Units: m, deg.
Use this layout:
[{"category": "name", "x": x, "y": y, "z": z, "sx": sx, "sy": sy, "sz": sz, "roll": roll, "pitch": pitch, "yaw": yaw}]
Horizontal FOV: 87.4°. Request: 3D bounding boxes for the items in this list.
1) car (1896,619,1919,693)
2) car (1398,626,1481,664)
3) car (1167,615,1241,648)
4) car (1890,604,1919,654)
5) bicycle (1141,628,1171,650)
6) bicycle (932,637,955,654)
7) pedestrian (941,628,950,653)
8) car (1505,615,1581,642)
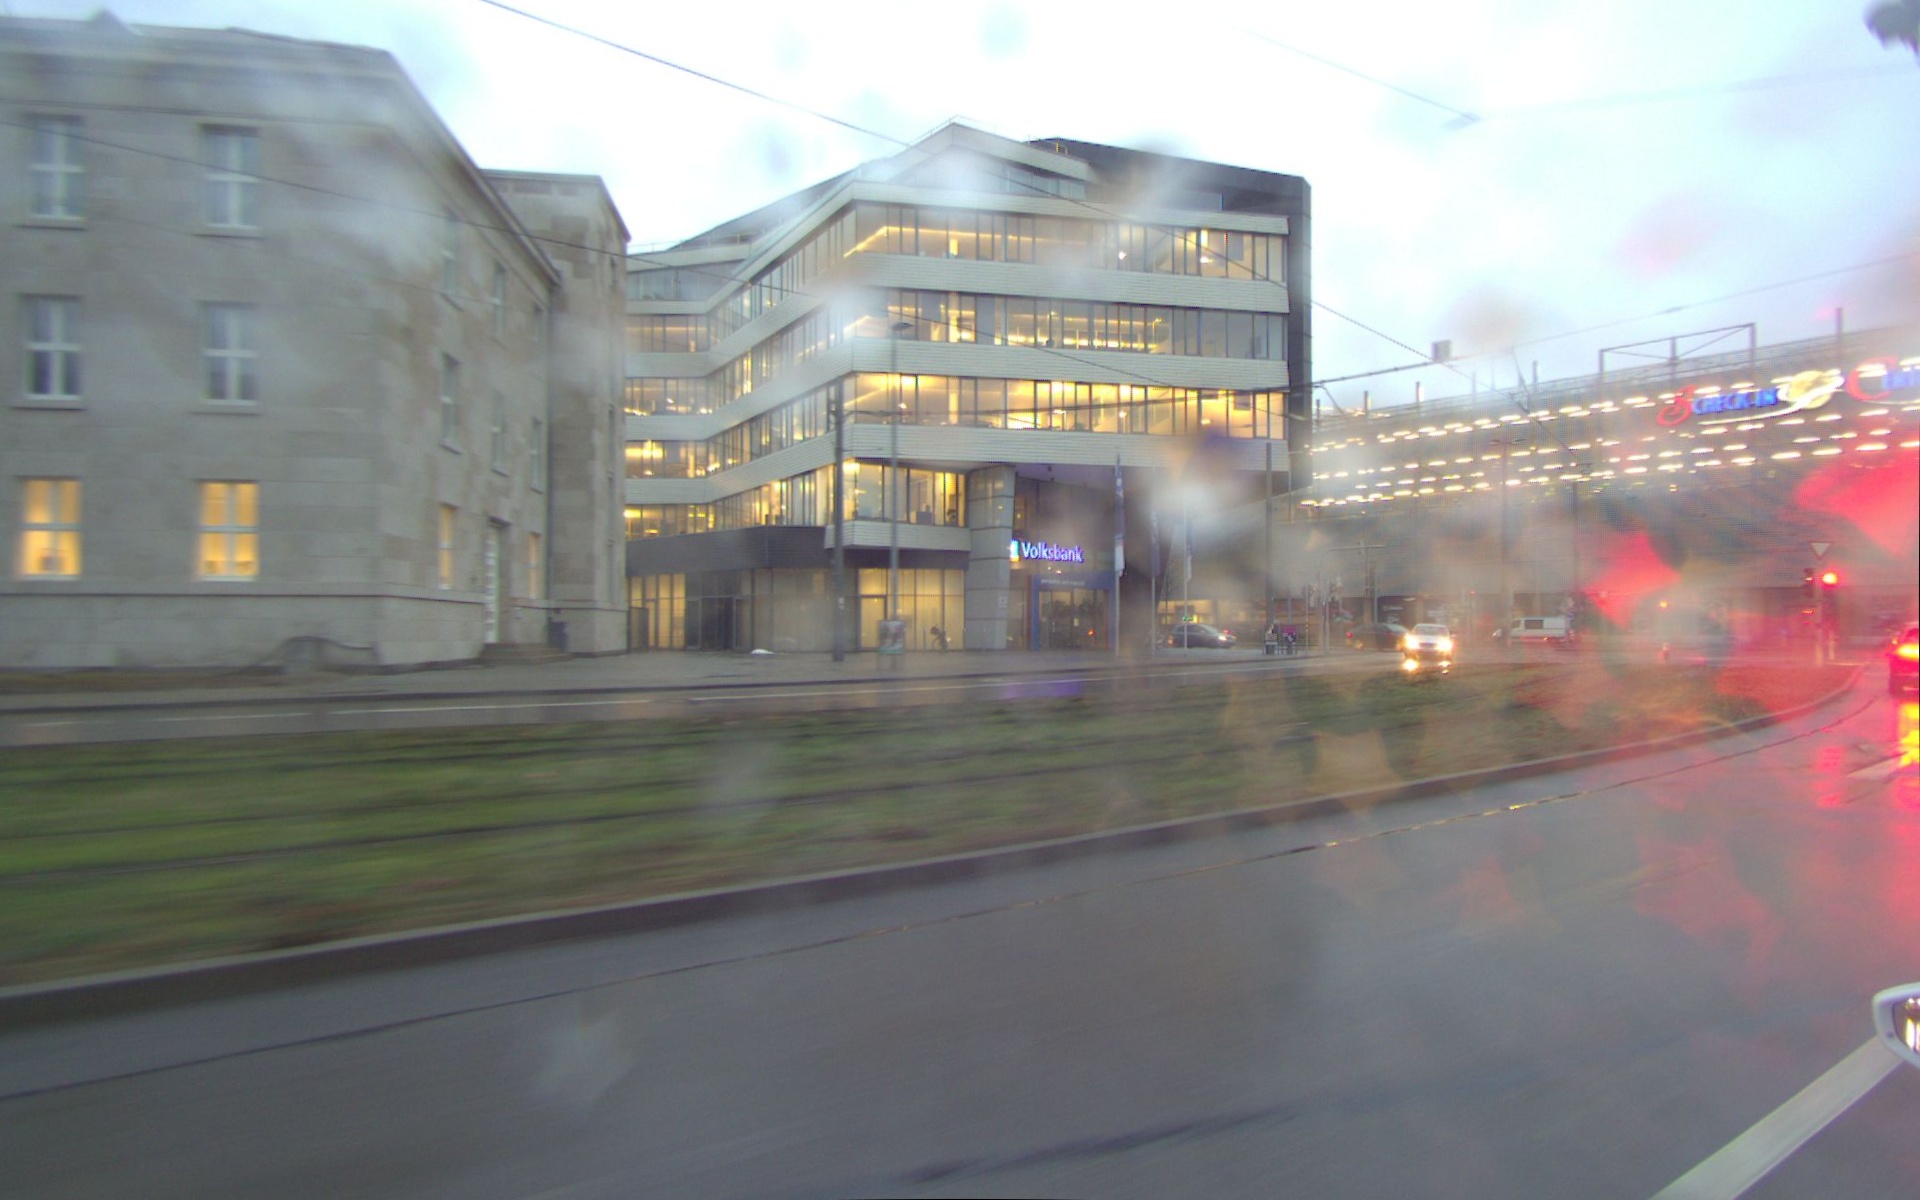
[{"category": "car", "x": 22.356, "y": 1.247, "z": 22.693, "sx": 1.734, "sy": 1.595, "sz": 3.977, "roll": -1, "pitch": -2, "yaw": 43}, {"category": "car", "x": 20.753, "y": 1.890, "z": 43.392, "sx": 1.802, "sy": 1.454, "sz": 4.626, "roll": 2, "pitch": 1, "yaw": 44}, {"category": "car", "x": 14.937, "y": 1.948, "z": 61.619, "sx": 3.937, "sy": 1.899, "sz": 1.992, "roll": -2, "pitch": -2, "yaw": 37}, {"category": "car", "x": 41.167, "y": 1.248, "z": 41.206, "sx": 4.305, "sy": 2.041, "sz": 1.990, "roll": 2, "pitch": 1, "yaw": 42}, {"category": "bicycle", "x": 10.065, "y": 1.992, "z": 51.482, "sx": 1.595, "sy": 1.104, "sz": 0.551, "roll": 1, "pitch": -2, "yaw": -35}, {"category": "bicycle", "x": -0.742, "y": 1.988, "z": 43.886, "sx": 0.899, "sy": 0.724, "sz": 0.481, "roll": 1, "pitch": -1, "yaw": -22}, {"category": "pedestrian", "x": -0.646, "y": 1.765, "z": 44.050, "sx": 0.381, "sy": 1.103, "sz": 0.325, "roll": 0, "pitch": -1, "yaw": -8}, {"category": "car", "x": 47.099, "y": 2.285, "z": 81.246, "sx": 5.022, "sy": 1.988, "sz": 1.880, "roll": 2, "pitch": 1, "yaw": 43}]
